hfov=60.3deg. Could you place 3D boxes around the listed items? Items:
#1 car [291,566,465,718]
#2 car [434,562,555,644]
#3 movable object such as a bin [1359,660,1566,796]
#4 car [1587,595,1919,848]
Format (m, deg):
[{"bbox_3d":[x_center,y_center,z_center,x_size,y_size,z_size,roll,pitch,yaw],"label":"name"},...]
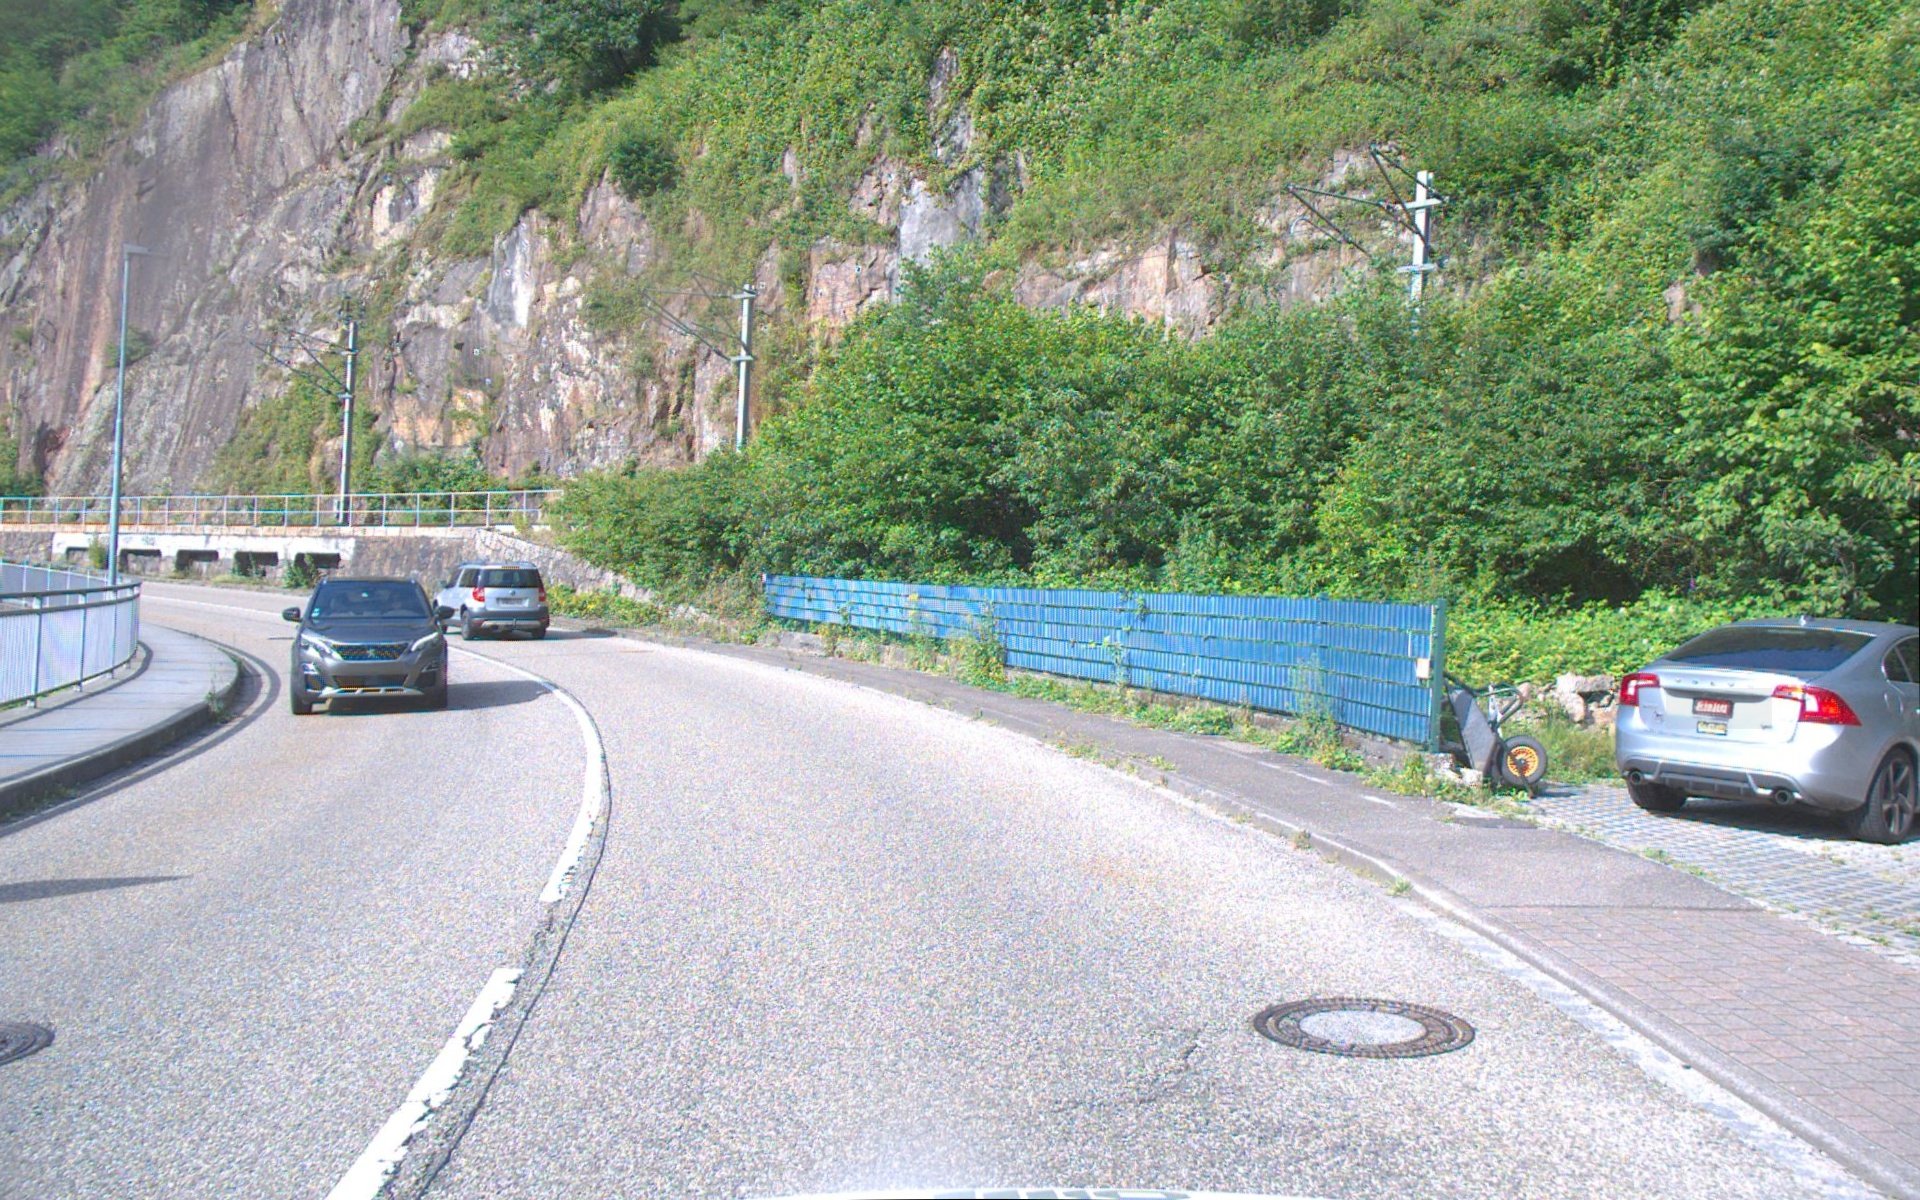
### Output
[{"bbox_3d":[-7.591,0.460,21.350,1.791,1.671,3.971,-3,2,-23],"label":"car"},{"bbox_3d":[-10.359,0.014,36.634,1.850,1.684,3.966,-1,2,-27],"label":"car"},{"bbox_3d":[4.013,0.990,13.479,0.837,0.862,2.538,3,0,-1],"label":"movable object such as a bin"},{"bbox_3d":[6.725,0.798,12.353,4.284,1.494,1.814,1,2,-38],"label":"car"}]
